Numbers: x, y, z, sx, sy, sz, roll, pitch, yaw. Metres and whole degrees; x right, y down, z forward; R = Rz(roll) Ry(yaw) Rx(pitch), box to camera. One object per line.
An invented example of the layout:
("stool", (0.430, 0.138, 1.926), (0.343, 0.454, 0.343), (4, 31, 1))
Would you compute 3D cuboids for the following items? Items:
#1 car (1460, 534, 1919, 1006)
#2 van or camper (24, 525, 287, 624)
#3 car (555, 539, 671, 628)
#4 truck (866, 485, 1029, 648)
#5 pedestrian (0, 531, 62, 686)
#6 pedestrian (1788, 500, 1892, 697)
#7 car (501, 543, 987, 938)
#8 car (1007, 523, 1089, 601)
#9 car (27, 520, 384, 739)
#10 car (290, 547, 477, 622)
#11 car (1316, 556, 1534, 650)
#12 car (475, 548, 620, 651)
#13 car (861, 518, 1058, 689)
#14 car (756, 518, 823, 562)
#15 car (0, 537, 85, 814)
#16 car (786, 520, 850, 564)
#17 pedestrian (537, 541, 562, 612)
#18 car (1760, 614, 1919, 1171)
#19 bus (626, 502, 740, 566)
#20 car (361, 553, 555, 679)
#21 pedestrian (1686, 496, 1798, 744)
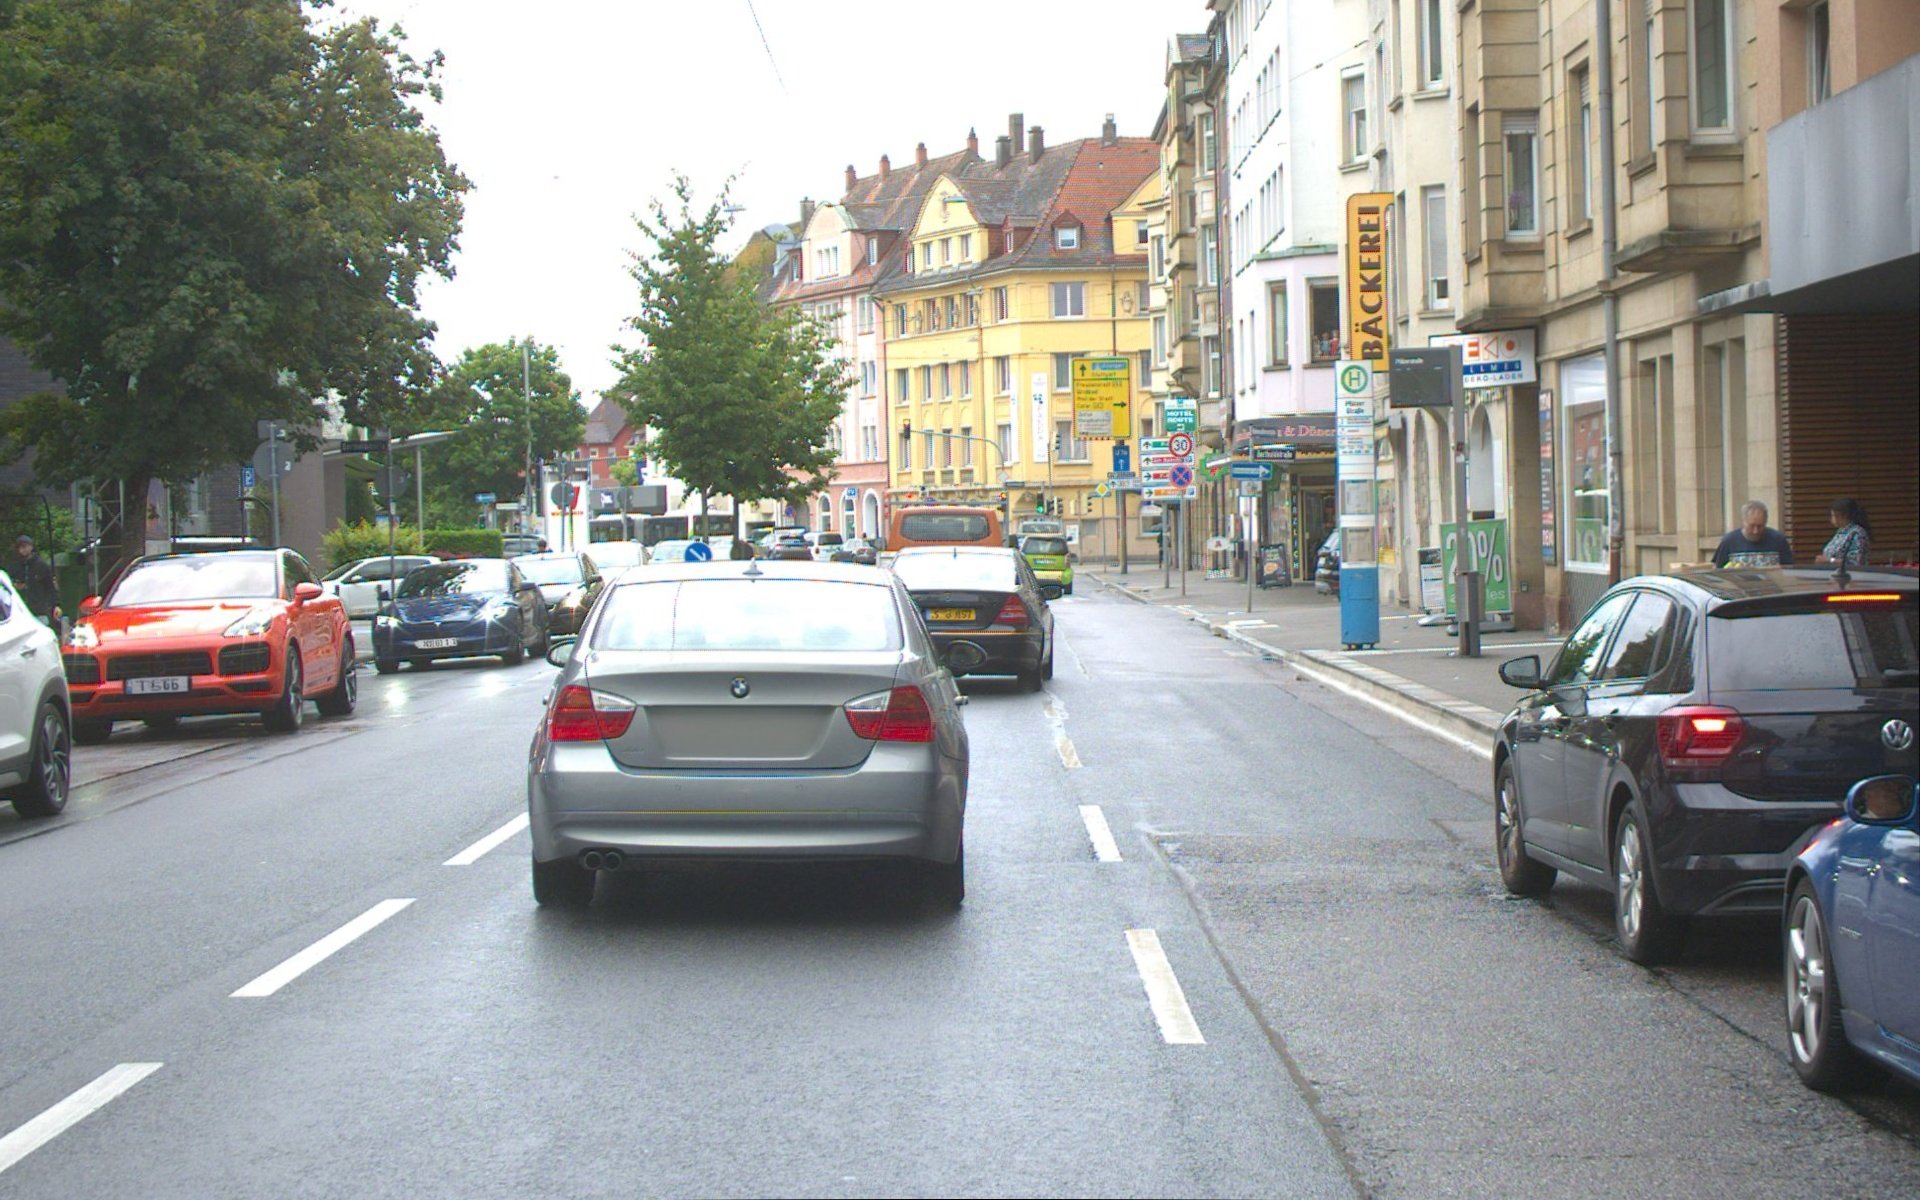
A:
("car", (3.193, 0.566, 13.857), (1.730, 1.542, 3.982), (3, 2, 0))
("van or camper", (-16.701, -0.559, 71.397), (4.951, 2.007, 2.000), (-1, 1, -29))
("car", (-6.711, -0.348, 66.800), (1.819, 1.563, 4.089), (-3, 1, -1))
("truck", (-0.184, -0.510, 49.733), (2.224, 2.242, 5.063), (0, 1, 0))
("pedestrian", (-11.084, 0.091, 40.880), (0.721, 1.819, 0.722), (-1, 2, -19))
("pedestrian", (7.121, -0.022, 27.823), (0.561, 1.567, 0.627), (-1, 1, -16))
("car", (-0.842, 0.509, 15.017), (1.799, 1.459, 4.371), (0, 0, -1))
("car", (2.313, -1.023, 91.115), (1.993, 2.007, 4.000), (-1, 1, -1))
("car", (-6.800, 0.235, 31.579), (2.106, 1.758, 5.060), (-2, 0, 0))
("car", (-12.404, -0.355, 74.036), (3.577, 1.564, 1.741), (-1, 1, -32))
("car", (9.024, 0.059, 66.754), (4.139, 1.766, 1.873), (0, 1, 8))
("car", (-6.769, -0.037, 56.797), (1.955, 1.551, 4.244), (-2, 1, -2))
("car", (-0.037, 0.017, 33.672), (1.799, 1.558, 4.000), (0, 0, -1))
("car", (-7.971, -2.809, 160.477), (1.993, 2.007, 4.001), (-1, 1, -21))
("car", (-6.395, 0.477, 19.198), (1.895, 1.568, 4.125), (-3, 0, 0))
("car", (-7.204, -2.954, 174.220), (1.761, 2.173, 4.001), (1, 1, -25))
("pedestrian", (-10.249, -0.596, 85.857), (0.574, 1.756, 0.581), (-1, 1, -6))
("car", (3.196, 0.734, 8.218), (1.734, 1.305, 3.767), (0, 1, 1))
("bus", (-14.079, -3.322, 173.855), (2.908, 3.094, 9.145), (-2, 2, -23))
("car", (-6.889, 0.176, 47.664), (1.955, 1.506, 4.913), (-3, 1, -1))
("pedestrian", (5.354, 0.128, 23.561), (0.625, 1.646, 0.749), (-1, 4, 2))
